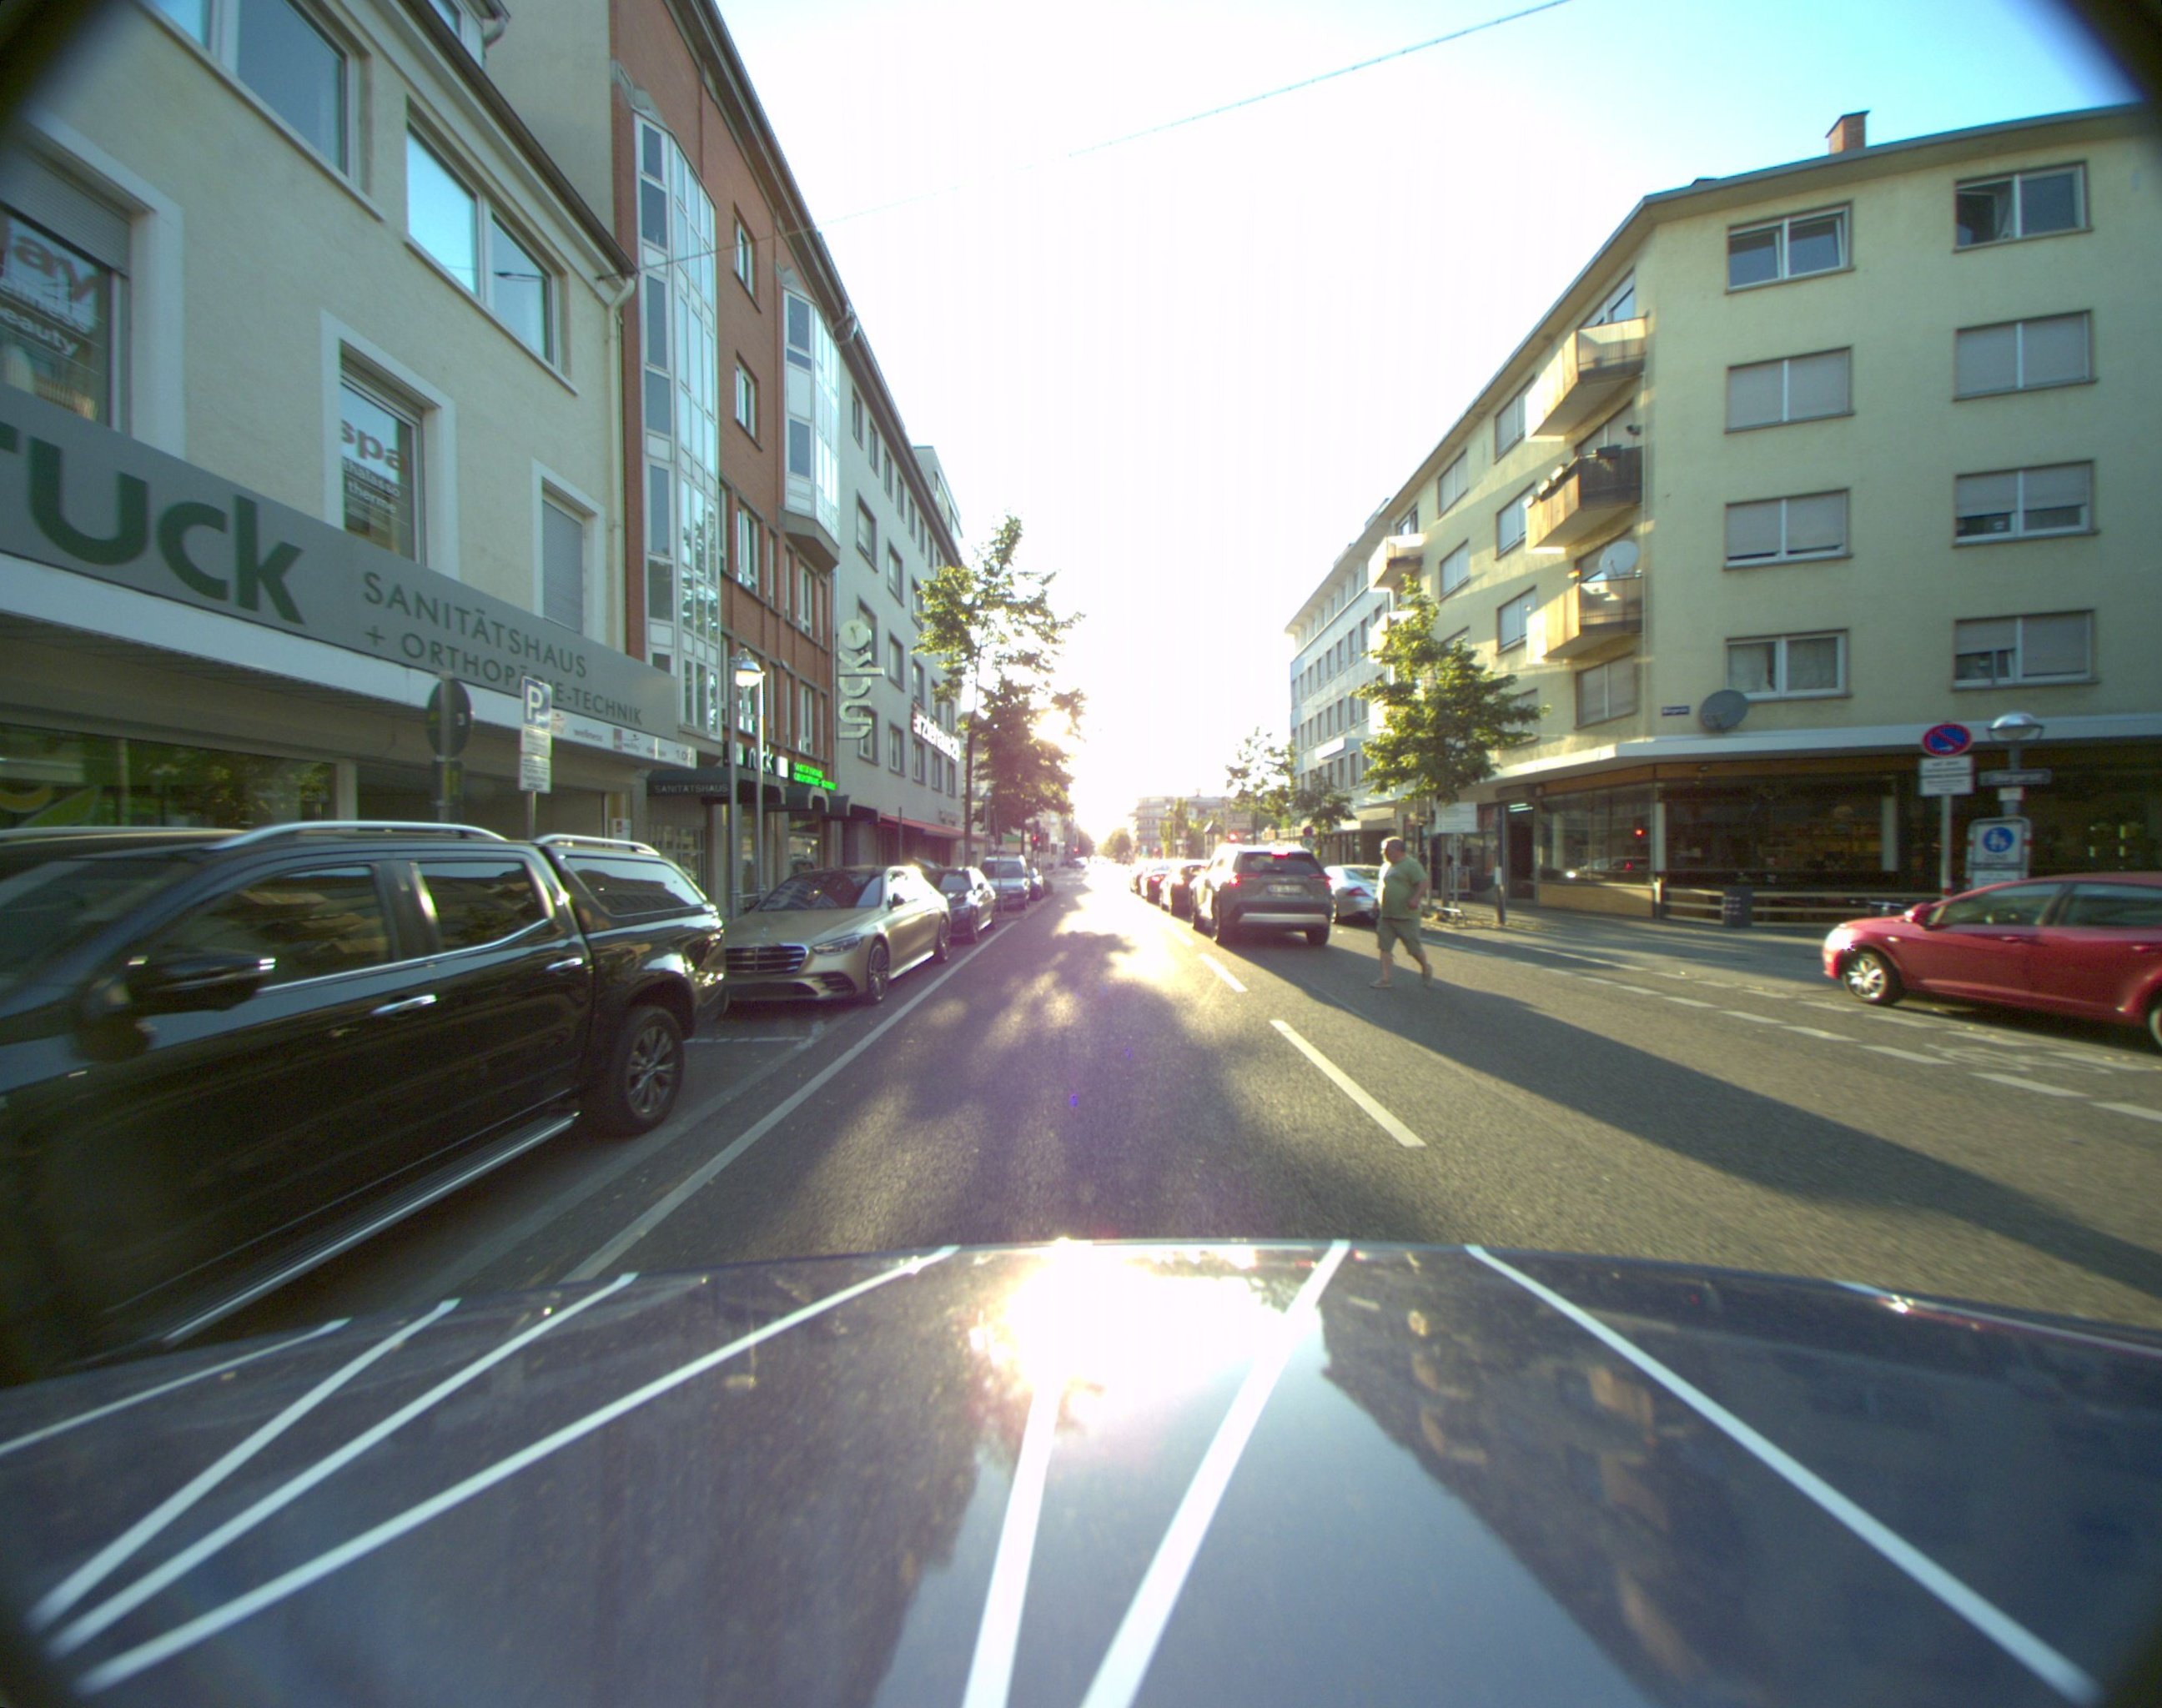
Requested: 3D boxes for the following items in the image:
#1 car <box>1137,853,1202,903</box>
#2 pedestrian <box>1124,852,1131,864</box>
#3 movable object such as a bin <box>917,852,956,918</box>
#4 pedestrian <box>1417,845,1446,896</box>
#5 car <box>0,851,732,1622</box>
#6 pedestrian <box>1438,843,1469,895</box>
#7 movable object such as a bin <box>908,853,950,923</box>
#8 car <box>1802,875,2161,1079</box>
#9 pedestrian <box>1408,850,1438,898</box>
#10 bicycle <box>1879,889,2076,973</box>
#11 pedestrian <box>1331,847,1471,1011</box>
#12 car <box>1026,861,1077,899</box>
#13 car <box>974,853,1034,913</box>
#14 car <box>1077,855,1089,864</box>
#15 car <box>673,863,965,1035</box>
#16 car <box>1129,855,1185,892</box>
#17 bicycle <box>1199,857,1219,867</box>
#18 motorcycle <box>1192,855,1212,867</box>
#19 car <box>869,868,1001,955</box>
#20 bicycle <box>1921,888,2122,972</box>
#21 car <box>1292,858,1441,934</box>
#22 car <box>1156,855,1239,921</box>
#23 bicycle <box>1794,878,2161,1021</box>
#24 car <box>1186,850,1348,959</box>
[{"bbox_3d":[3.126,0.807,27.779,1.951,1.635,4.615,0,1,2],"label":"car"},{"bbox_3d":[6.598,0.538,108.142,0.905,1.667,0.780,-2,1,13],"label":"pedestrian"},{"bbox_3d":[-4.091,0.858,21.586,0.837,1.763,1.205,-2,1,-2],"label":"movable object such as a bin"},{"bbox_3d":[12.942,0.610,28.081,0.769,1.836,0.744,-1,-1,11],"label":"pedestrian"},{"bbox_3d":[-3.459,0.915,2.851,1.888,1.744,5.058,-2,1,0],"label":"car"},{"bbox_3d":[13.251,0.540,27.036,0.742,1.808,0.814,0,0,3],"label":"pedestrian"},{"bbox_3d":[-4.028,0.872,20.286,0.837,1.763,1.353,-2,1,-2],"label":"movable object such as a bin"},{"bbox_3d":[9.141,0.991,6.823,1.665,1.394,3.883,-2,1,1],"label":"car"},{"bbox_3d":[12.109,0.708,26.893,0.768,1.666,0.744,-1,1,43],"label":"pedestrian"},{"bbox_3d":[13.040,1.079,11.157,0.491,0.986,2.015,-2,1,-1],"label":"bicycle"},{"bbox_3d":[3.532,0.790,8.433,0.908,1.666,0.990,3,0,-28],"label":"pedestrian"},{"bbox_3d":[-1.142,1.007,31.243,1.942,1.368,4.182,-2,0,0],"label":"car"},{"bbox_3d":[-2.479,0.908,25.234,1.659,1.768,4.011,-2,0,-2],"label":"car"},{"bbox_3d":[0.376,1.097,145.437,1.998,1.538,4.509,-2,1,2],"label":"car"},{"bbox_3d":[-2.973,0.976,9.992,1.816,1.518,4.994,-2,1,3],"label":"car"},{"bbox_3d":[3.322,0.852,34.052,1.963,1.538,4.509,0,-1,-1],"label":"car"},{"bbox_3d":[15.436,0.966,91.661,2.180,1.081,0.779,0,1,1],"label":"bicycle"},{"bbox_3d":[15.095,0.845,94.909,2.450,1.358,0.780,-2,0,6],"label":"motorcycle"},{"bbox_3d":[-2.808,1.047,15.635,1.757,1.412,4.510,-2,0,1],"label":"car"},{"bbox_3d":[13.590,1.059,11.088,0.491,0.986,2.016,-2,1,2],"label":"bicycle"},{"bbox_3d":[6.834,0.931,18.776,1.998,1.503,4.509,2,1,1],"label":"car"},{"bbox_3d":[3.104,0.846,21.062,1.728,1.540,4.465,0,1,2],"label":"car"},{"bbox_3d":[10.732,1.031,9.346,0.961,1.293,3.126,-2,1,-1],"label":"bicycle"},{"bbox_3d":[3.176,0.763,14.038,1.945,1.635,4.738,0,1,2],"label":"car"}]
